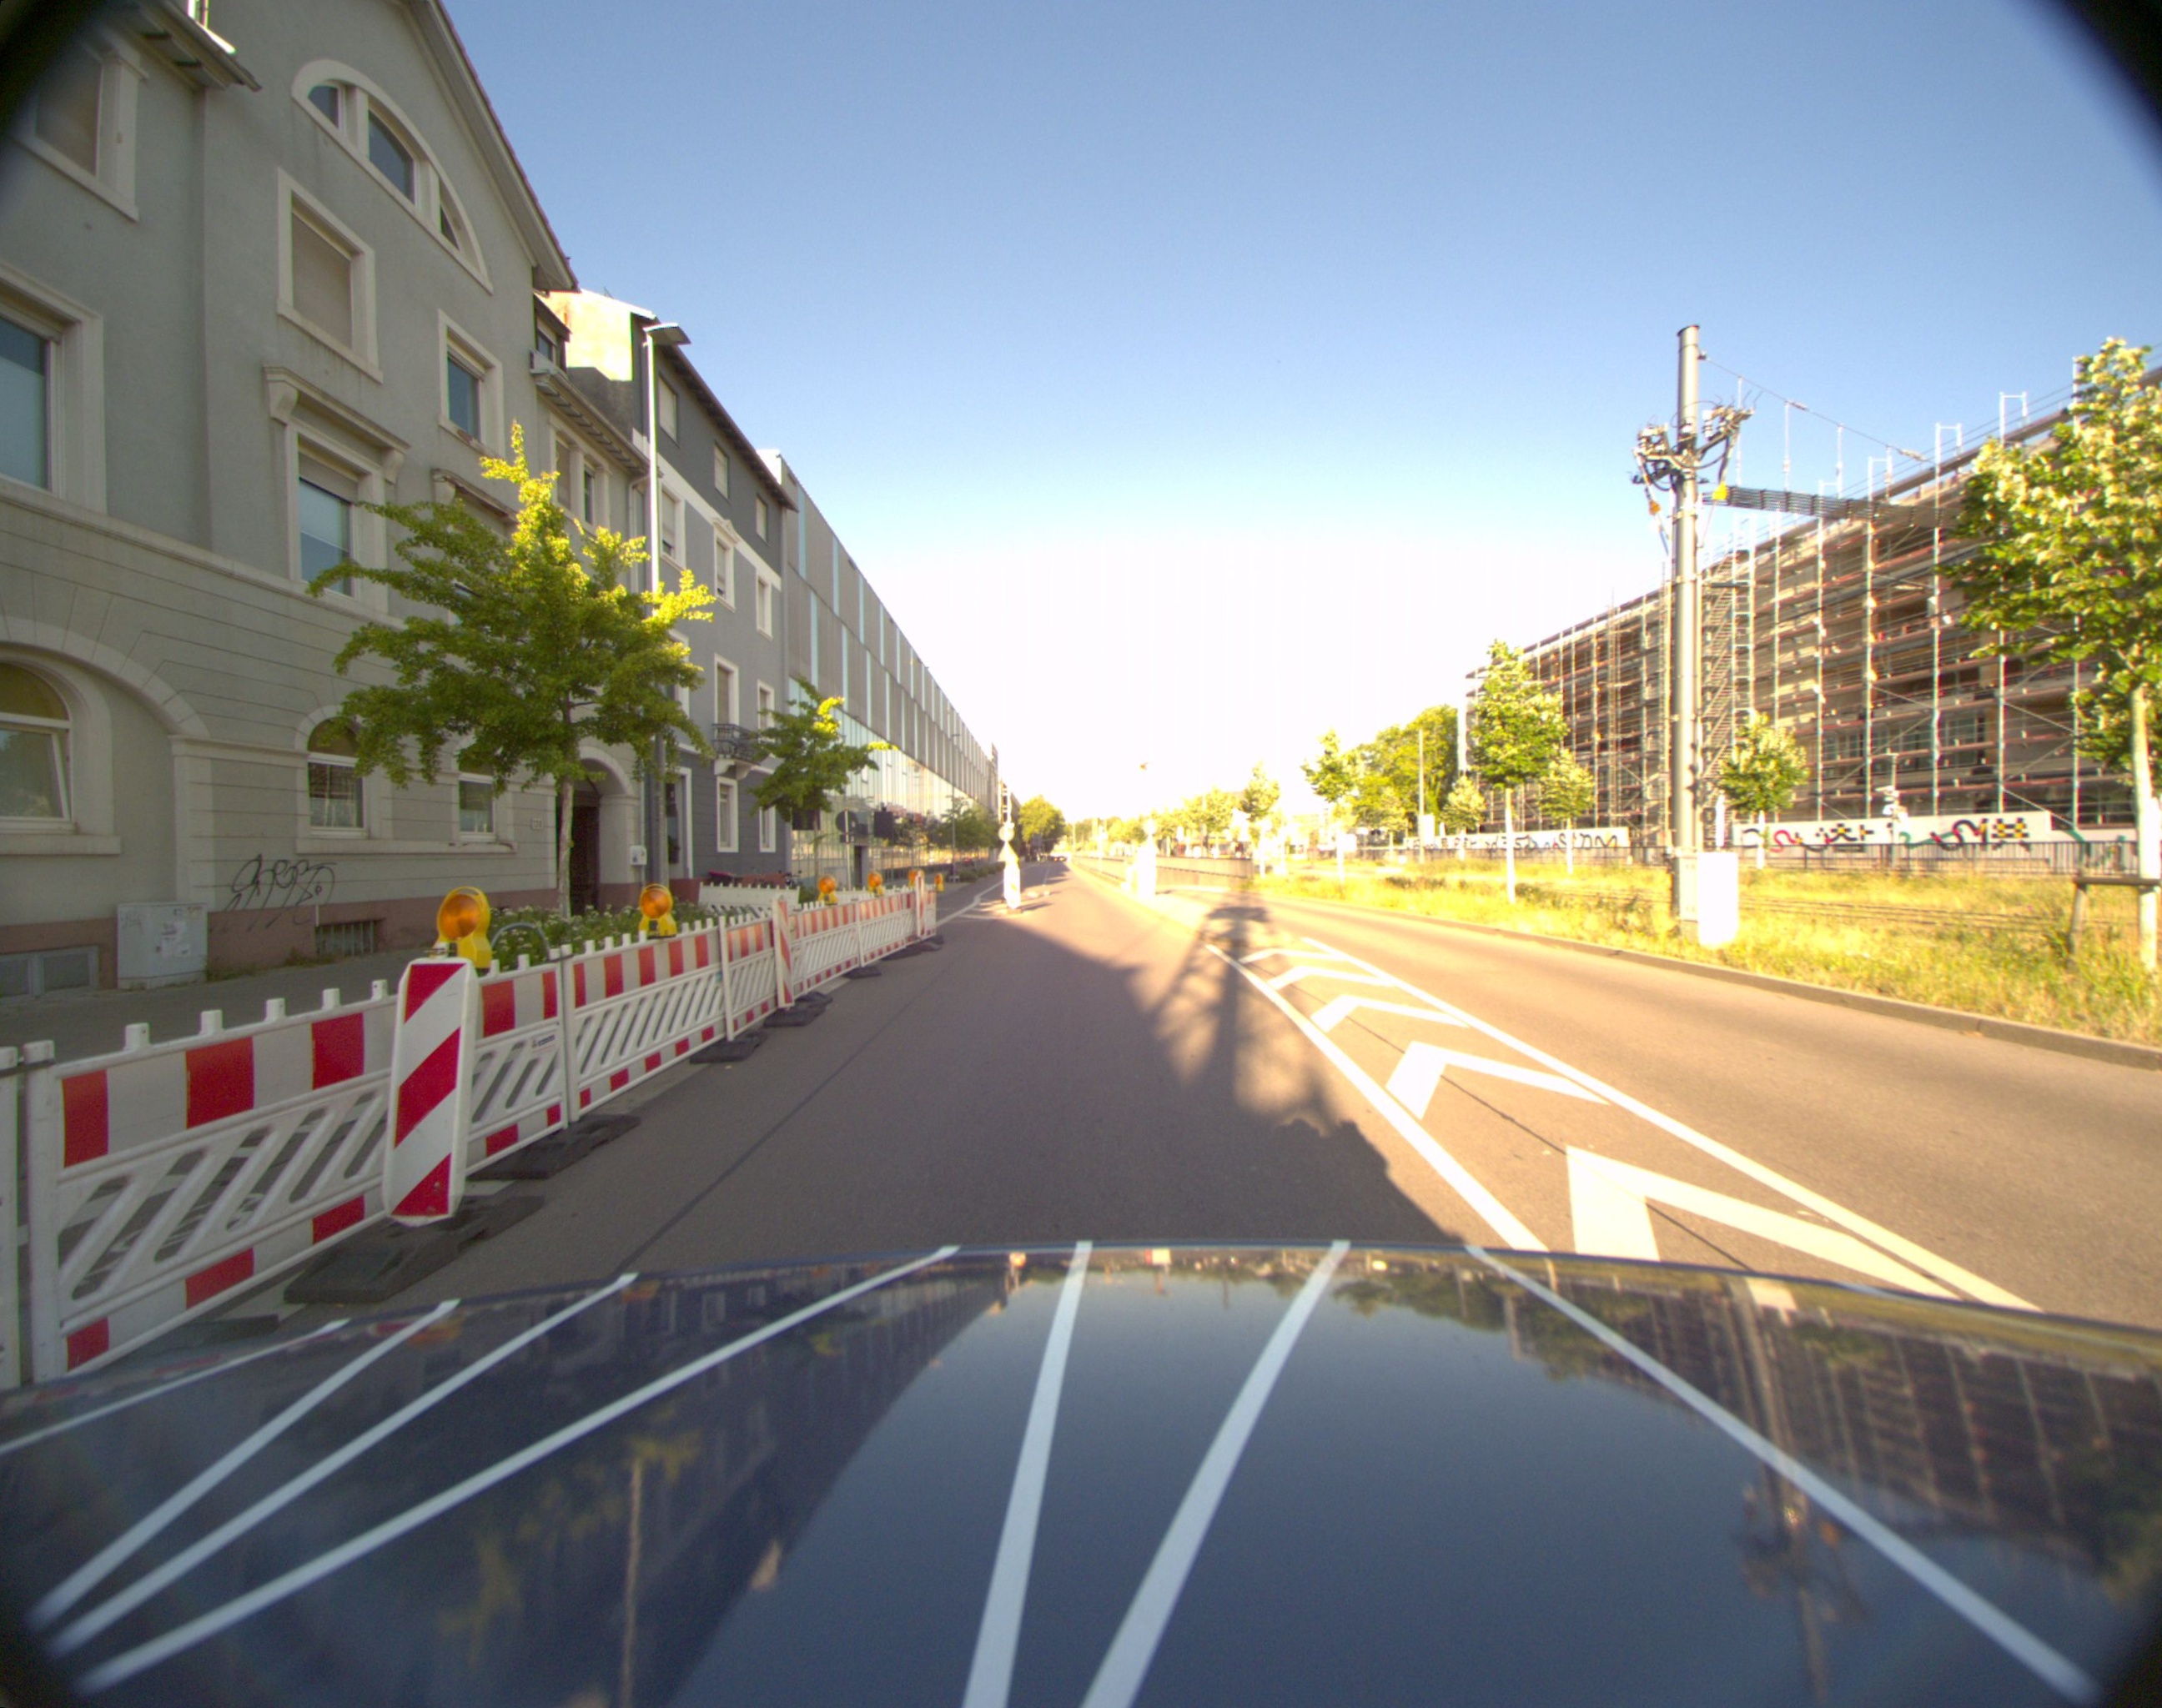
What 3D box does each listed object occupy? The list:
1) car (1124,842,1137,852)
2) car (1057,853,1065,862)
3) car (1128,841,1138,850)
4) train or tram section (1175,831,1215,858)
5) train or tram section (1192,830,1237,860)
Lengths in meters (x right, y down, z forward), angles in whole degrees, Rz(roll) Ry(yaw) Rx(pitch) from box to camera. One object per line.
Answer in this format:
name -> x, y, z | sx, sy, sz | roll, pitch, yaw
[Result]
car -> 8.897, -1.255, 136.668 | 1.998, 1.740, 3.999 | -2, 1, 1
car -> -4.899, 0.805, 187.298 | 1.941, 2.002, 3.825 | -1, 0, -3
car -> 11.193, -1.801, 164.401 | 1.998, 1.740, 3.999 | -2, 1, 1
train or tram section -> 16.018, -1.318, 107.926 | 2.954, 3.378, 14.761 | -2, 1, -2
train or tram section -> 16.384, -1.069, 94.248 | 2.954, 3.378, 12.630 | -2, 1, -2
